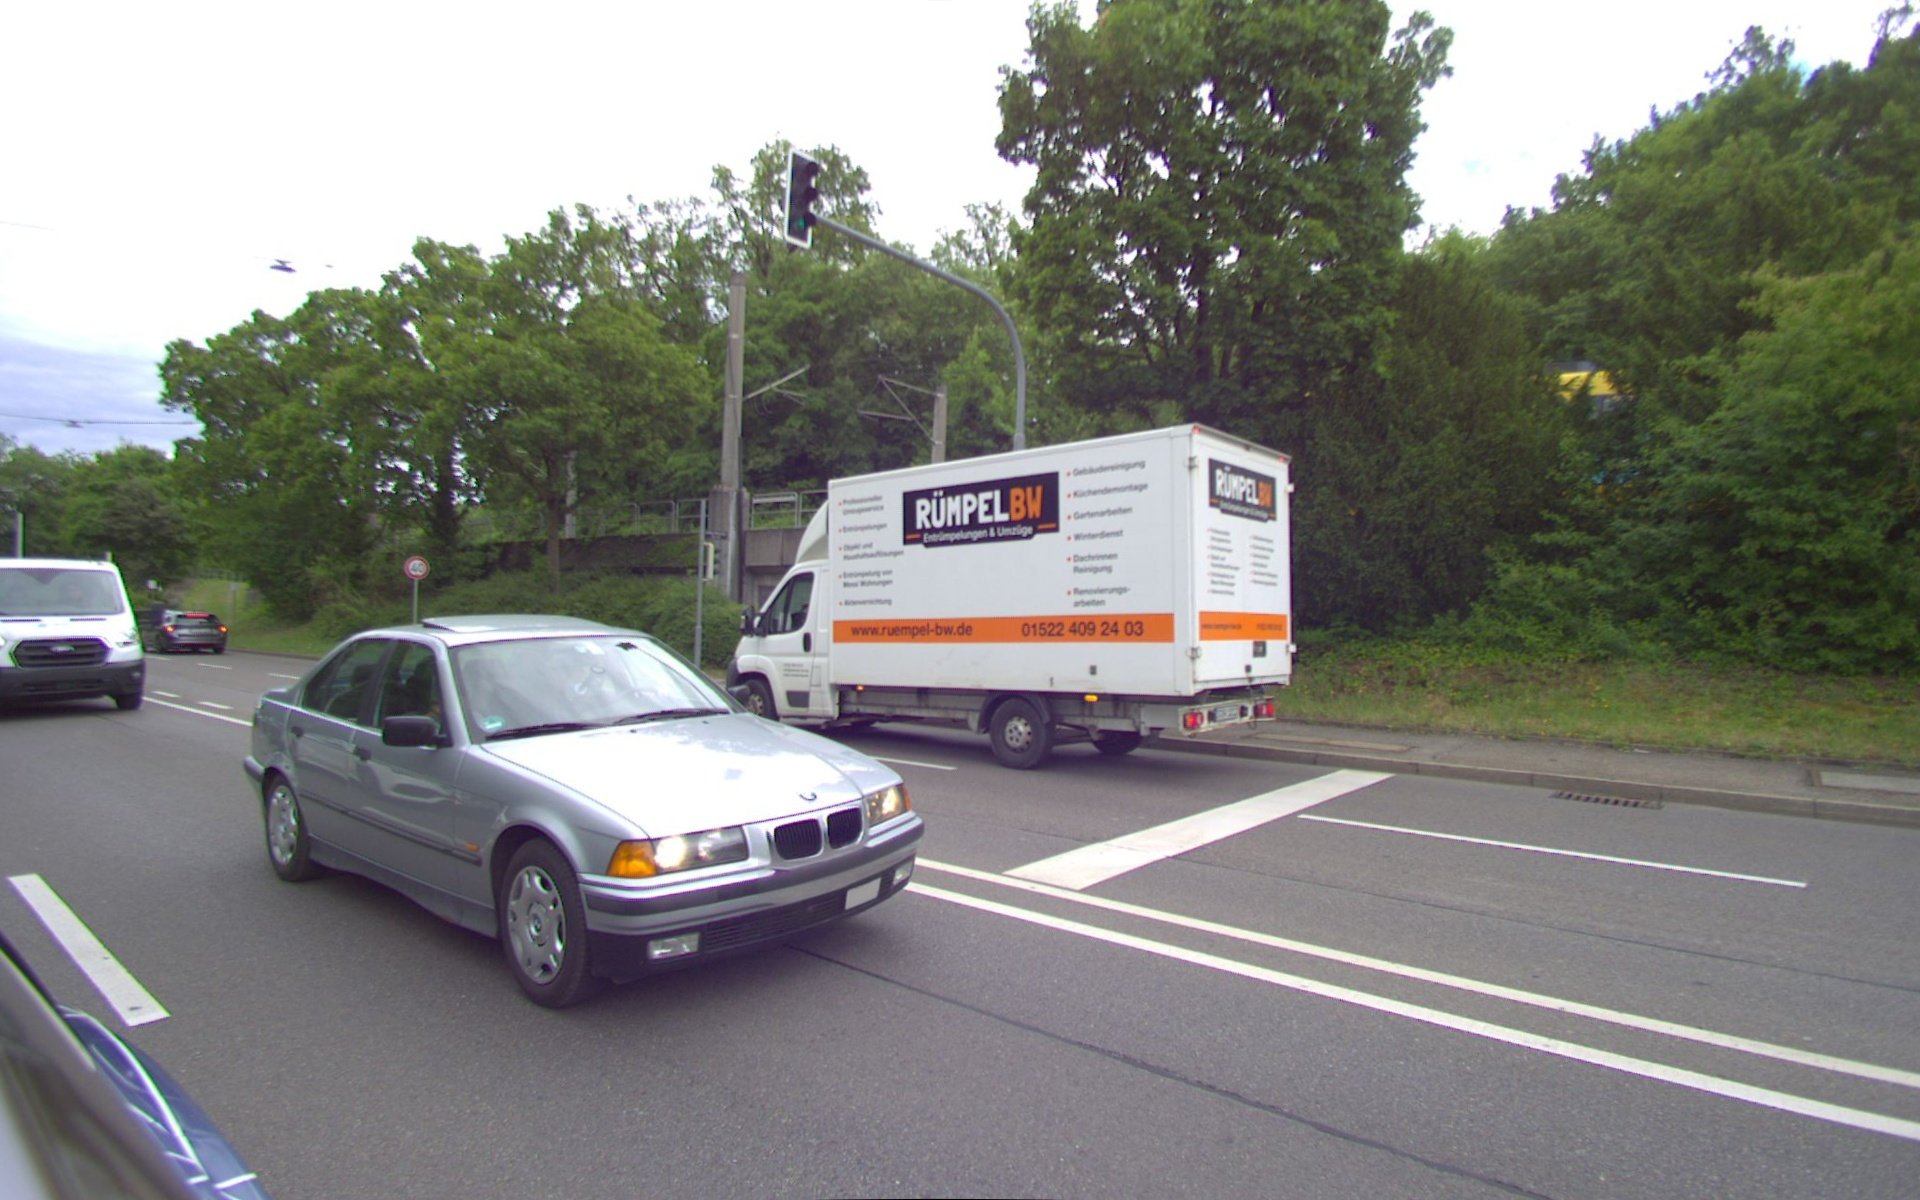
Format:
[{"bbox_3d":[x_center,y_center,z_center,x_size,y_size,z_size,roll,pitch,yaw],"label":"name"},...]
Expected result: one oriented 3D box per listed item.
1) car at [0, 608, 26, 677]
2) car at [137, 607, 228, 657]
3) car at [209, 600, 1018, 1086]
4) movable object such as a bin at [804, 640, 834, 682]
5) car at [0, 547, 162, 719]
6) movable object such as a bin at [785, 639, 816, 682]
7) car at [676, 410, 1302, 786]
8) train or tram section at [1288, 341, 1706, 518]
[{"bbox_3d":[-23.627,0.967,24.012,4.551,1.552,1.656,0,-1,41],"label":"car"},{"bbox_3d":[-25.611,1.003,33.298,3.747,1.552,1.656,0,-1,41],"label":"car"},{"bbox_3d":[-2.066,0.726,5.096,4.611,1.404,1.735,0,-1,40],"label":"car"},{"bbox_3d":[-3.762,1.627,27.071,0.563,1.085,0.537,0,-3,39],"label":"movable object such as a bin"},{"bbox_3d":[-14.238,0.430,15.115,6.662,2.142,2.225,0,0,39],"label":"car"},{"bbox_3d":[-4.194,1.587,26.667,0.563,1.107,0.537,0,-3,39],"label":"movable object such as a bin"},{"bbox_3d":[-0.106,-0.002,11.452,7.228,3.079,2.247,0,0,39],"label":"car"},{"bbox_3d":[11.845,-3.587,22.983,8.137,3.066,2.039,1,1,37],"label":"train or tram section"}]
